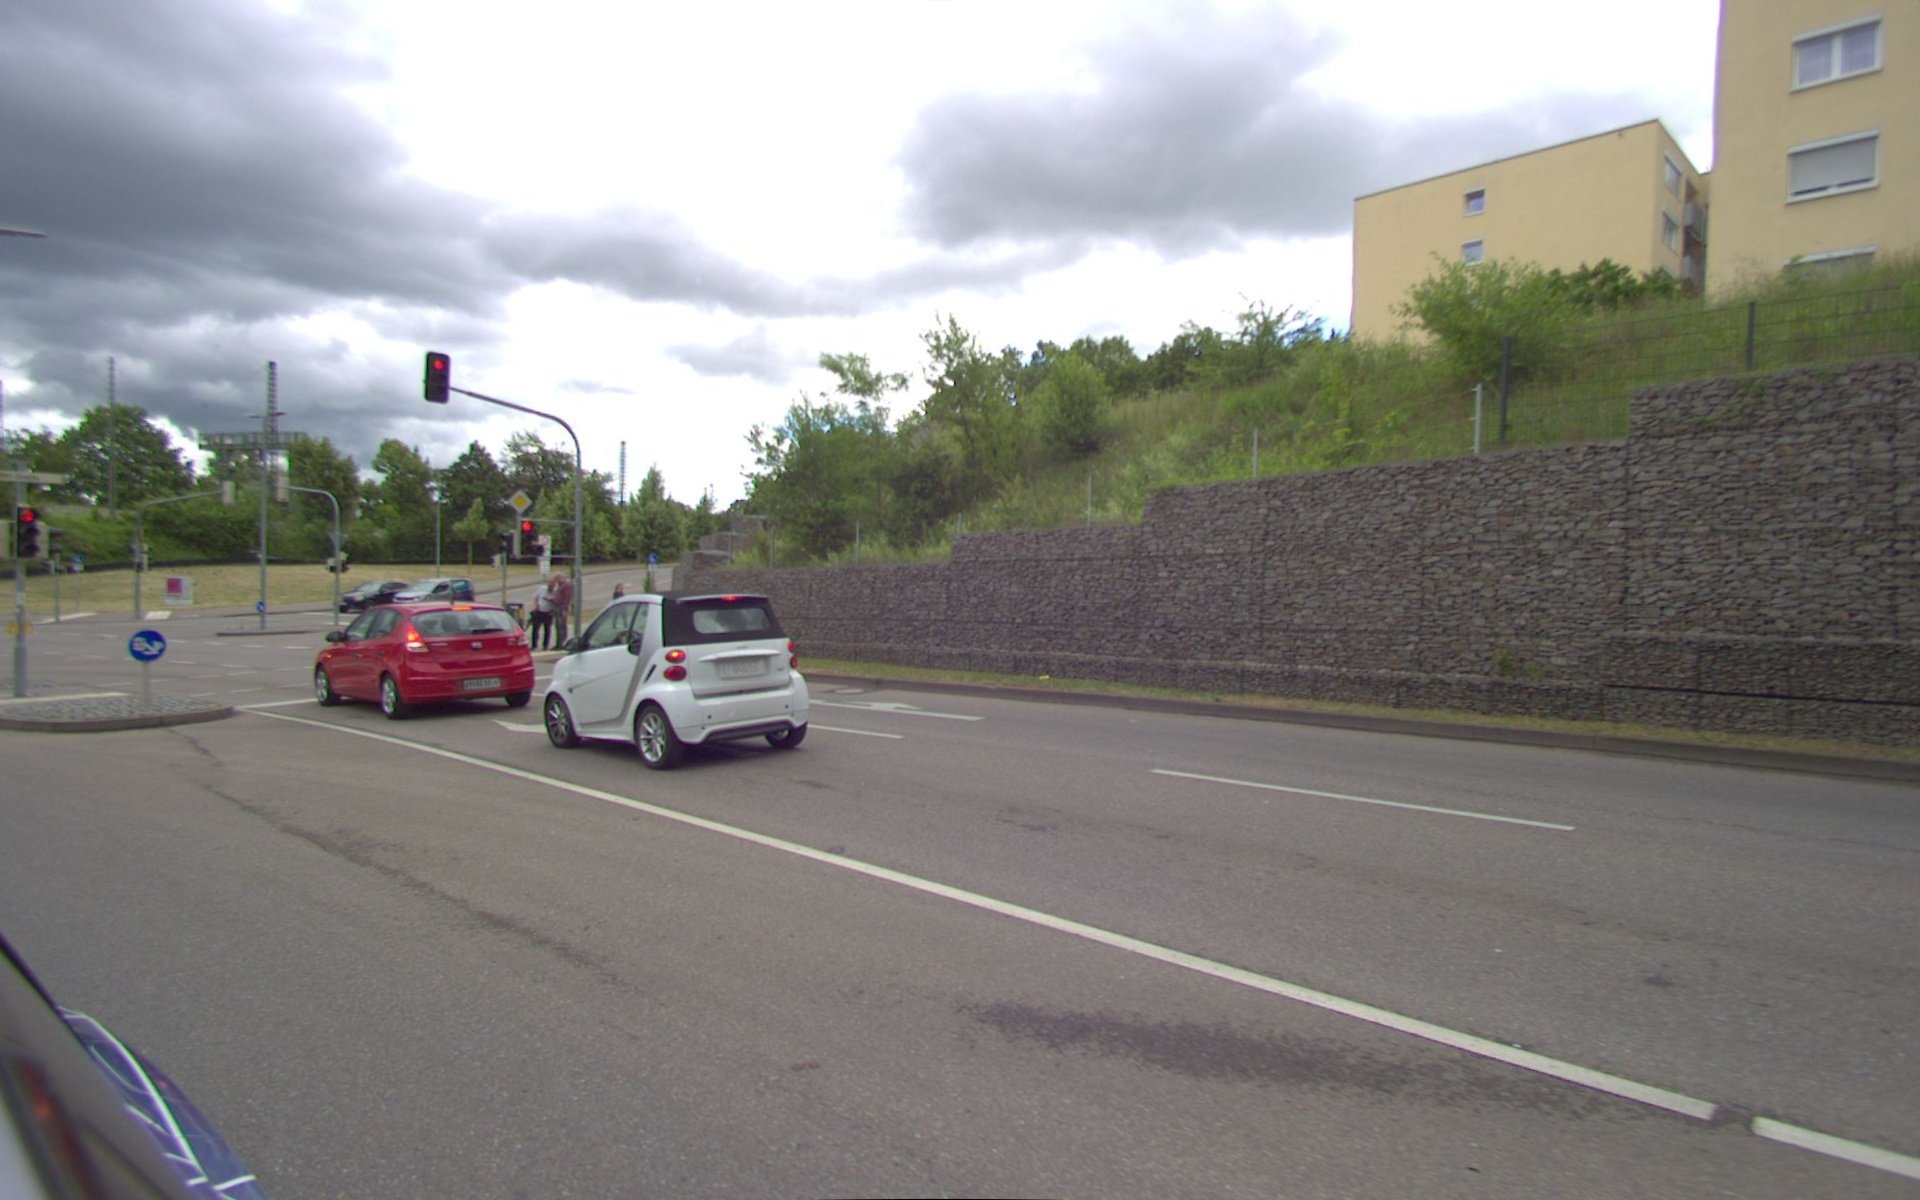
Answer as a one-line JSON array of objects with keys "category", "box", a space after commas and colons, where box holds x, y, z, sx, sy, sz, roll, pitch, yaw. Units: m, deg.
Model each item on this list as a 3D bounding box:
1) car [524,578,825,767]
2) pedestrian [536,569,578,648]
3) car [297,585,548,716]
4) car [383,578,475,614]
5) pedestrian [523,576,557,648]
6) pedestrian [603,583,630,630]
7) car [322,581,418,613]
[{"category": "car", "box": [-2.849, 0.600, 9.876, 2.914, 1.535, 1.526, -1, 1, 43]}, {"category": "pedestrian", "box": [-9.569, 0.197, 24.043, 0.660, 1.841, 0.620, 0, 2, 20]}, {"category": "car", "box": [-7.582, 0.590, 14.111, 4.091, 1.535, 1.736, 0, 2, 41]}, {"category": "car", "box": [-27.493, -0.257, 52.545, 1.744, 1.741, 4.241, 0, 2, 16]}, {"category": "pedestrian", "box": [-10.089, 0.278, 24.284, 0.654, 1.691, 0.626, -1, 2, -29]}, {"category": "pedestrian", "box": [-11.897, 0.217, 35.056, 0.620, 1.569, 0.576, 0, 2, 23]}, {"category": "car", "box": [-31.366, -0.213, 53.925, 2.089, 1.563, 4.246, 0, 2, 13]}]
